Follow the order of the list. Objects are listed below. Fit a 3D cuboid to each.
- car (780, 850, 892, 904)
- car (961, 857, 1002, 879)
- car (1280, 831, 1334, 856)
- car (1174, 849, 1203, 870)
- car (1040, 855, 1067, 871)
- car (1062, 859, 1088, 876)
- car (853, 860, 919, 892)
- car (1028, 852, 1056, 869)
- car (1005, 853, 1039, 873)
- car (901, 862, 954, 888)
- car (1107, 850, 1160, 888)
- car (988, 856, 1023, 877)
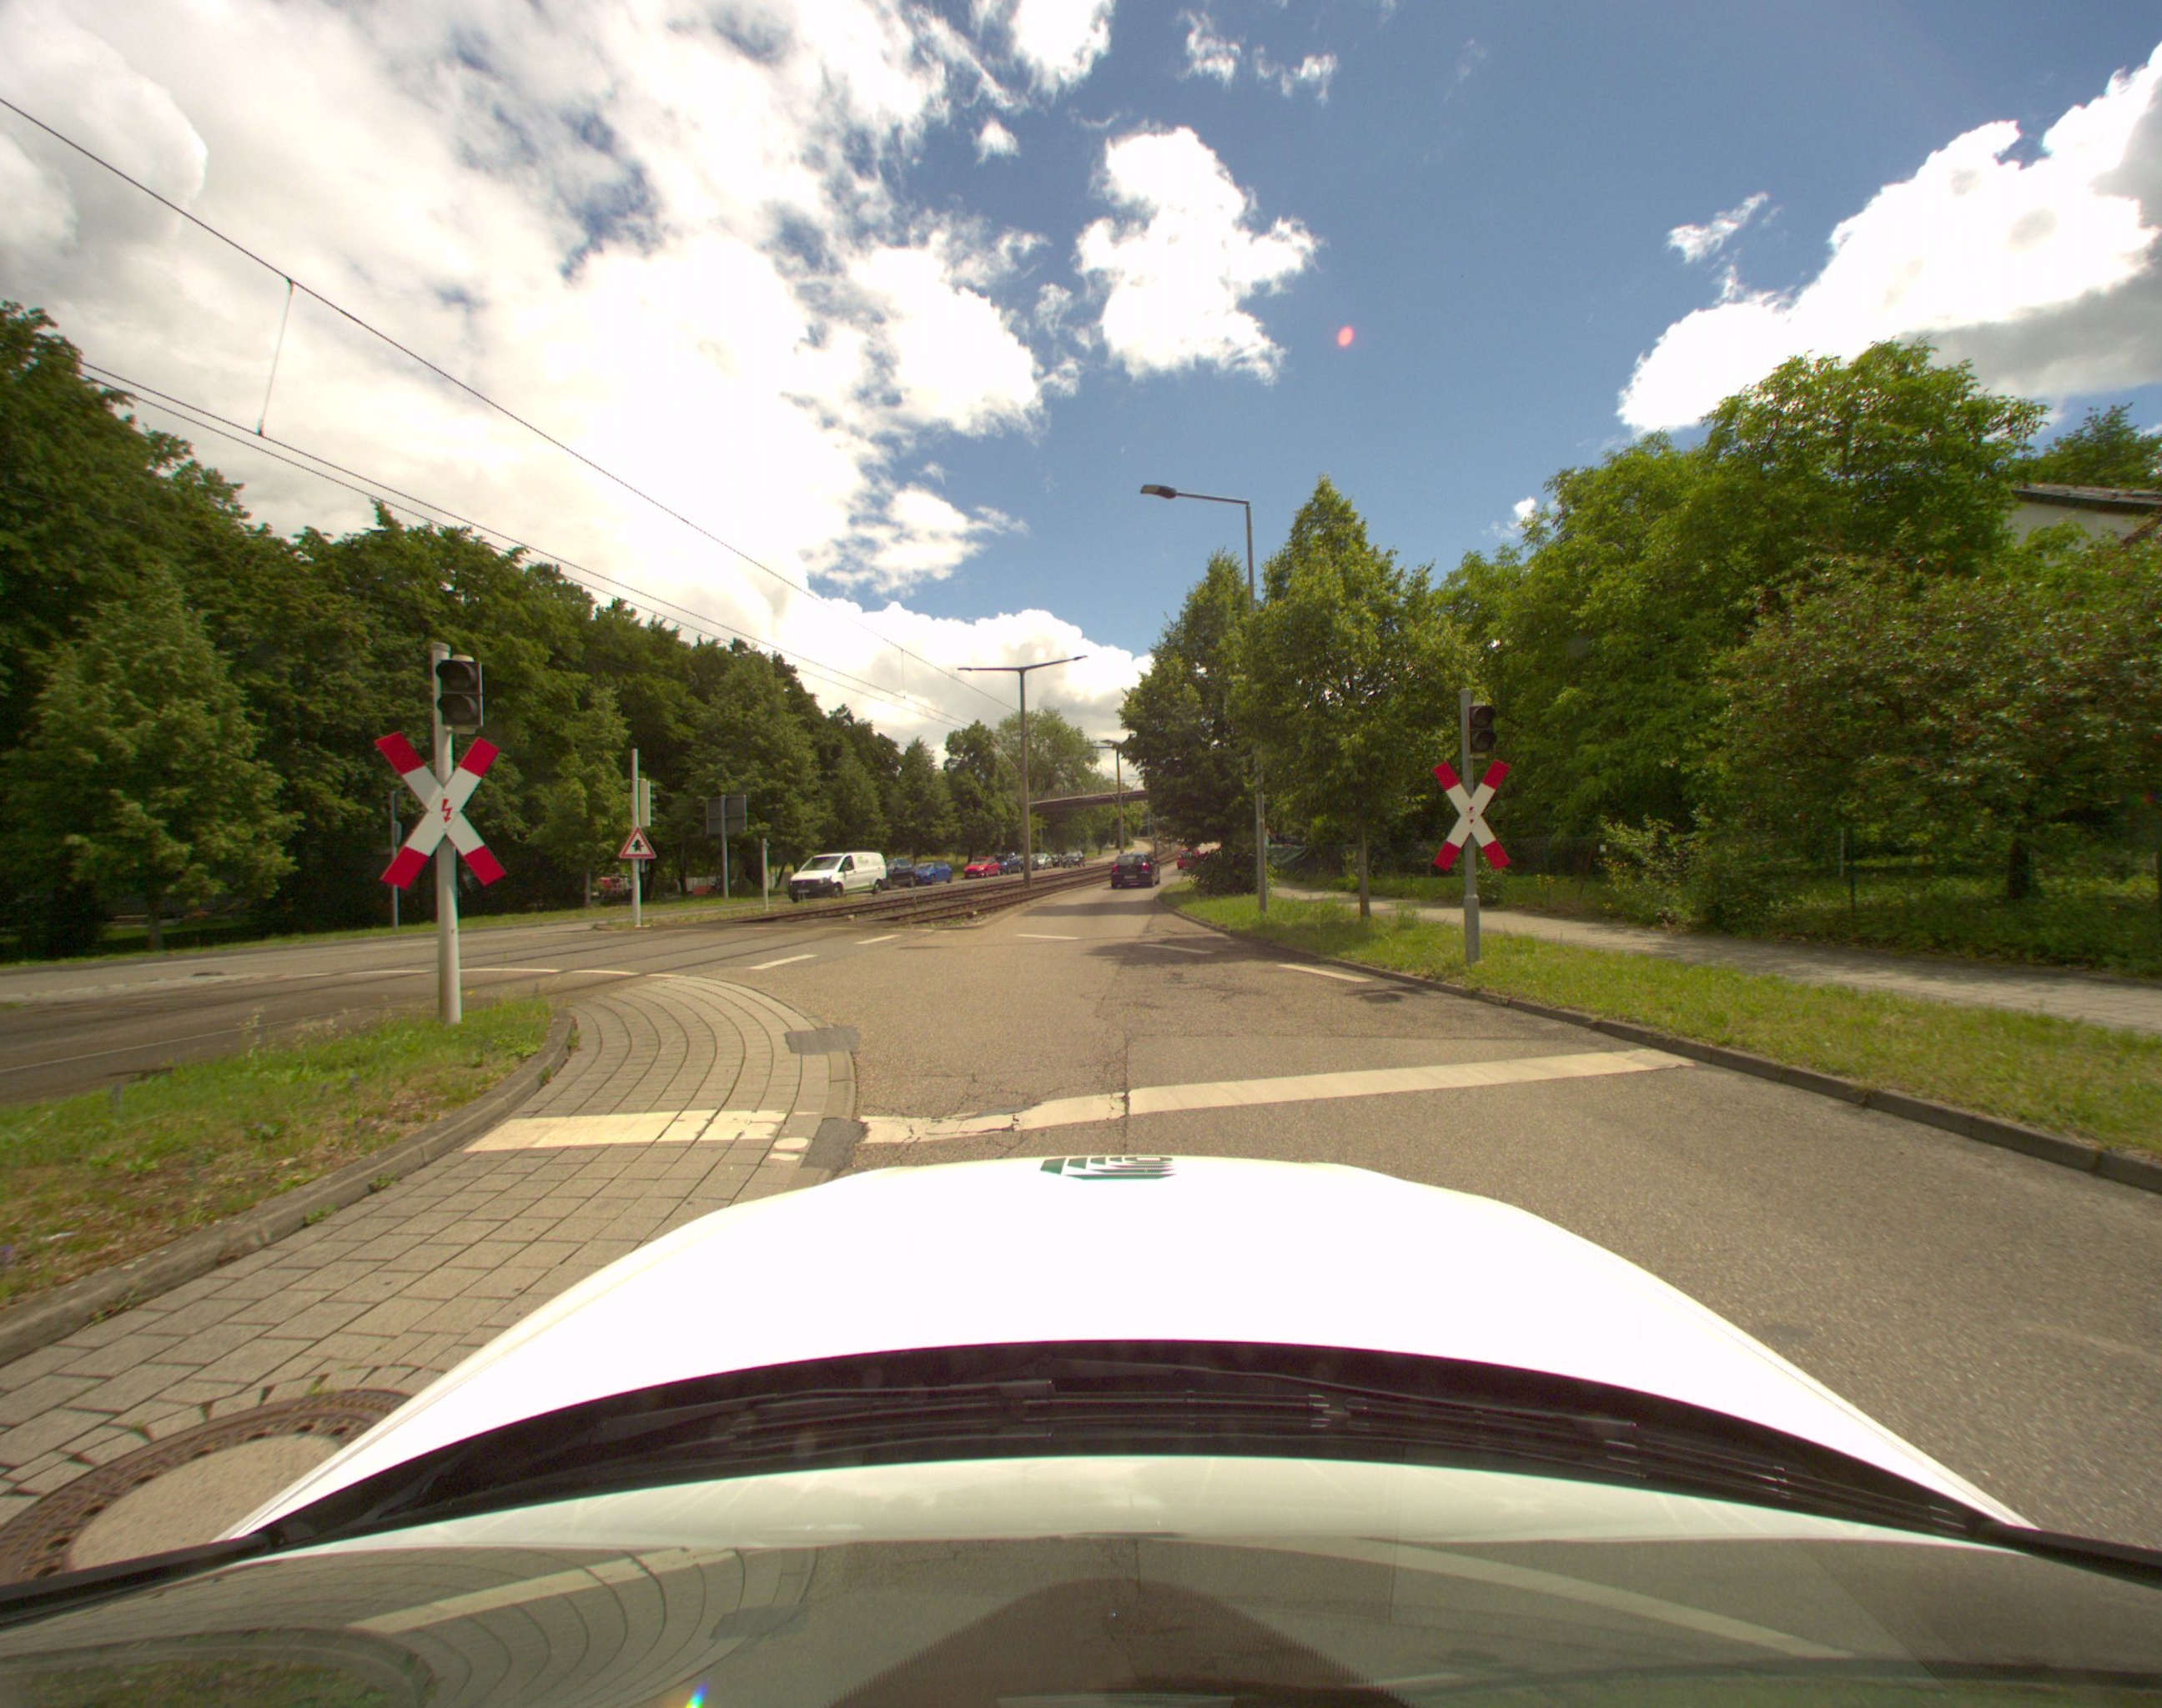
[{"bbox_3d":[-9.727,0.895,32.909,1.861,2.019,5.255,-1,-1,15],"label":"car"},{"bbox_3d":[-7.047,0.990,58.172,1.602,1.494,4.061,-1,-1,13],"label":"car"},{"bbox_3d":[20.282,-0.936,73.298,4.492,1.671,2.008,-7,-2,14],"label":"car"},{"bbox_3d":[7.641,0.374,57.677,1.613,1.443,3.434,-1,-1,14],"label":"car"},{"bbox_3d":[-2.643,0.893,79.404,1.677,1.450,3.911,-1,-1,12],"label":"car"},{"bbox_3d":[-0.545,1.247,75.932,1.602,1.574,4.013,-1,-1,12],"label":"car"},{"bbox_3d":[-10.226,1.137,43.012,1.569,1.605,4.389,-1,-1,13],"label":"car"},{"bbox_3d":[-3.554,0.633,74.210,1.583,1.494,4.204,-1,-1,11],"label":"car"},{"bbox_3d":[-4.951,0.730,68.563,1.631,1.622,4.139,-2,-1,12],"label":"car"},{"bbox_3d":[-9.056,1.207,48.224,1.602,1.461,4.021,-1,-1,12],"label":"car"},{"bbox_3d":[2.262,0.571,33.917,1.697,1.460,3.972,0,0,11],"label":"car"},{"bbox_3d":[-5.847,0.958,63.413,1.546,1.596,4.174,-1,-1,13],"label":"car"}]
